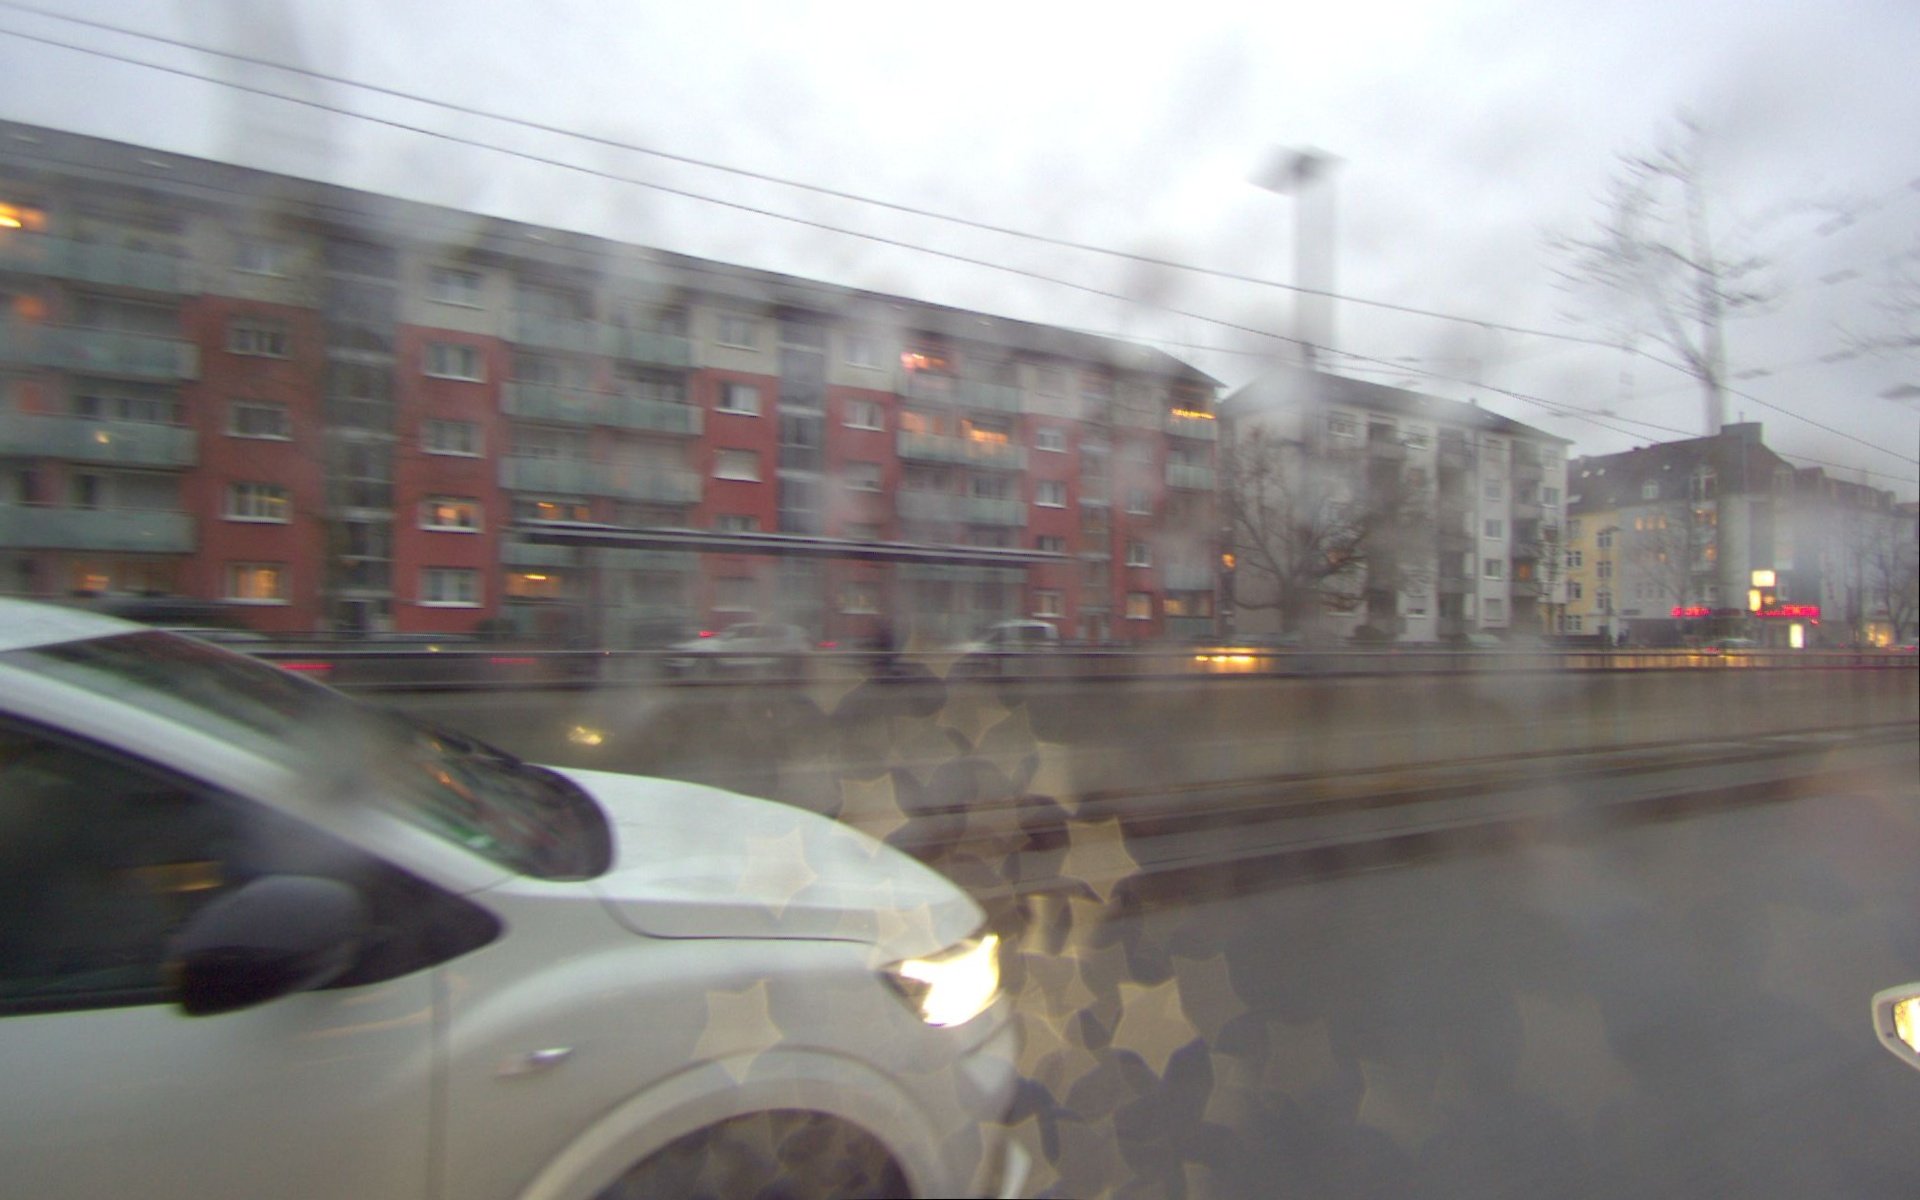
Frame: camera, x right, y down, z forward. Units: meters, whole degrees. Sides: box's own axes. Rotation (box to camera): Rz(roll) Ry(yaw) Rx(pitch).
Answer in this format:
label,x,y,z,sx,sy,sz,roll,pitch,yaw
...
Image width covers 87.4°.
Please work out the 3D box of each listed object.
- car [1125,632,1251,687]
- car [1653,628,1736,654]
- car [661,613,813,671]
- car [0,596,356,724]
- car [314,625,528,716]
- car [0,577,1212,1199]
label,x,y,z,sx,sy,sz,roll,pitch,yaw
car,6.514,1.699,28.689,3.198,1.454,1.680,3,-1,-29
car,45.204,2.523,61.881,1.681,1.384,3.773,3,-1,-34
car,-6.624,1.246,29.915,4.098,1.564,1.718,3,-1,-28
car,-13.353,1.009,17.383,4.846,1.938,2.013,3,-1,-31
car,-11.756,1.526,22.057,3.955,1.782,1.682,3,-1,-31
car,-1.634,0.708,1.824,3.952,1.485,1.700,3,-1,-29
